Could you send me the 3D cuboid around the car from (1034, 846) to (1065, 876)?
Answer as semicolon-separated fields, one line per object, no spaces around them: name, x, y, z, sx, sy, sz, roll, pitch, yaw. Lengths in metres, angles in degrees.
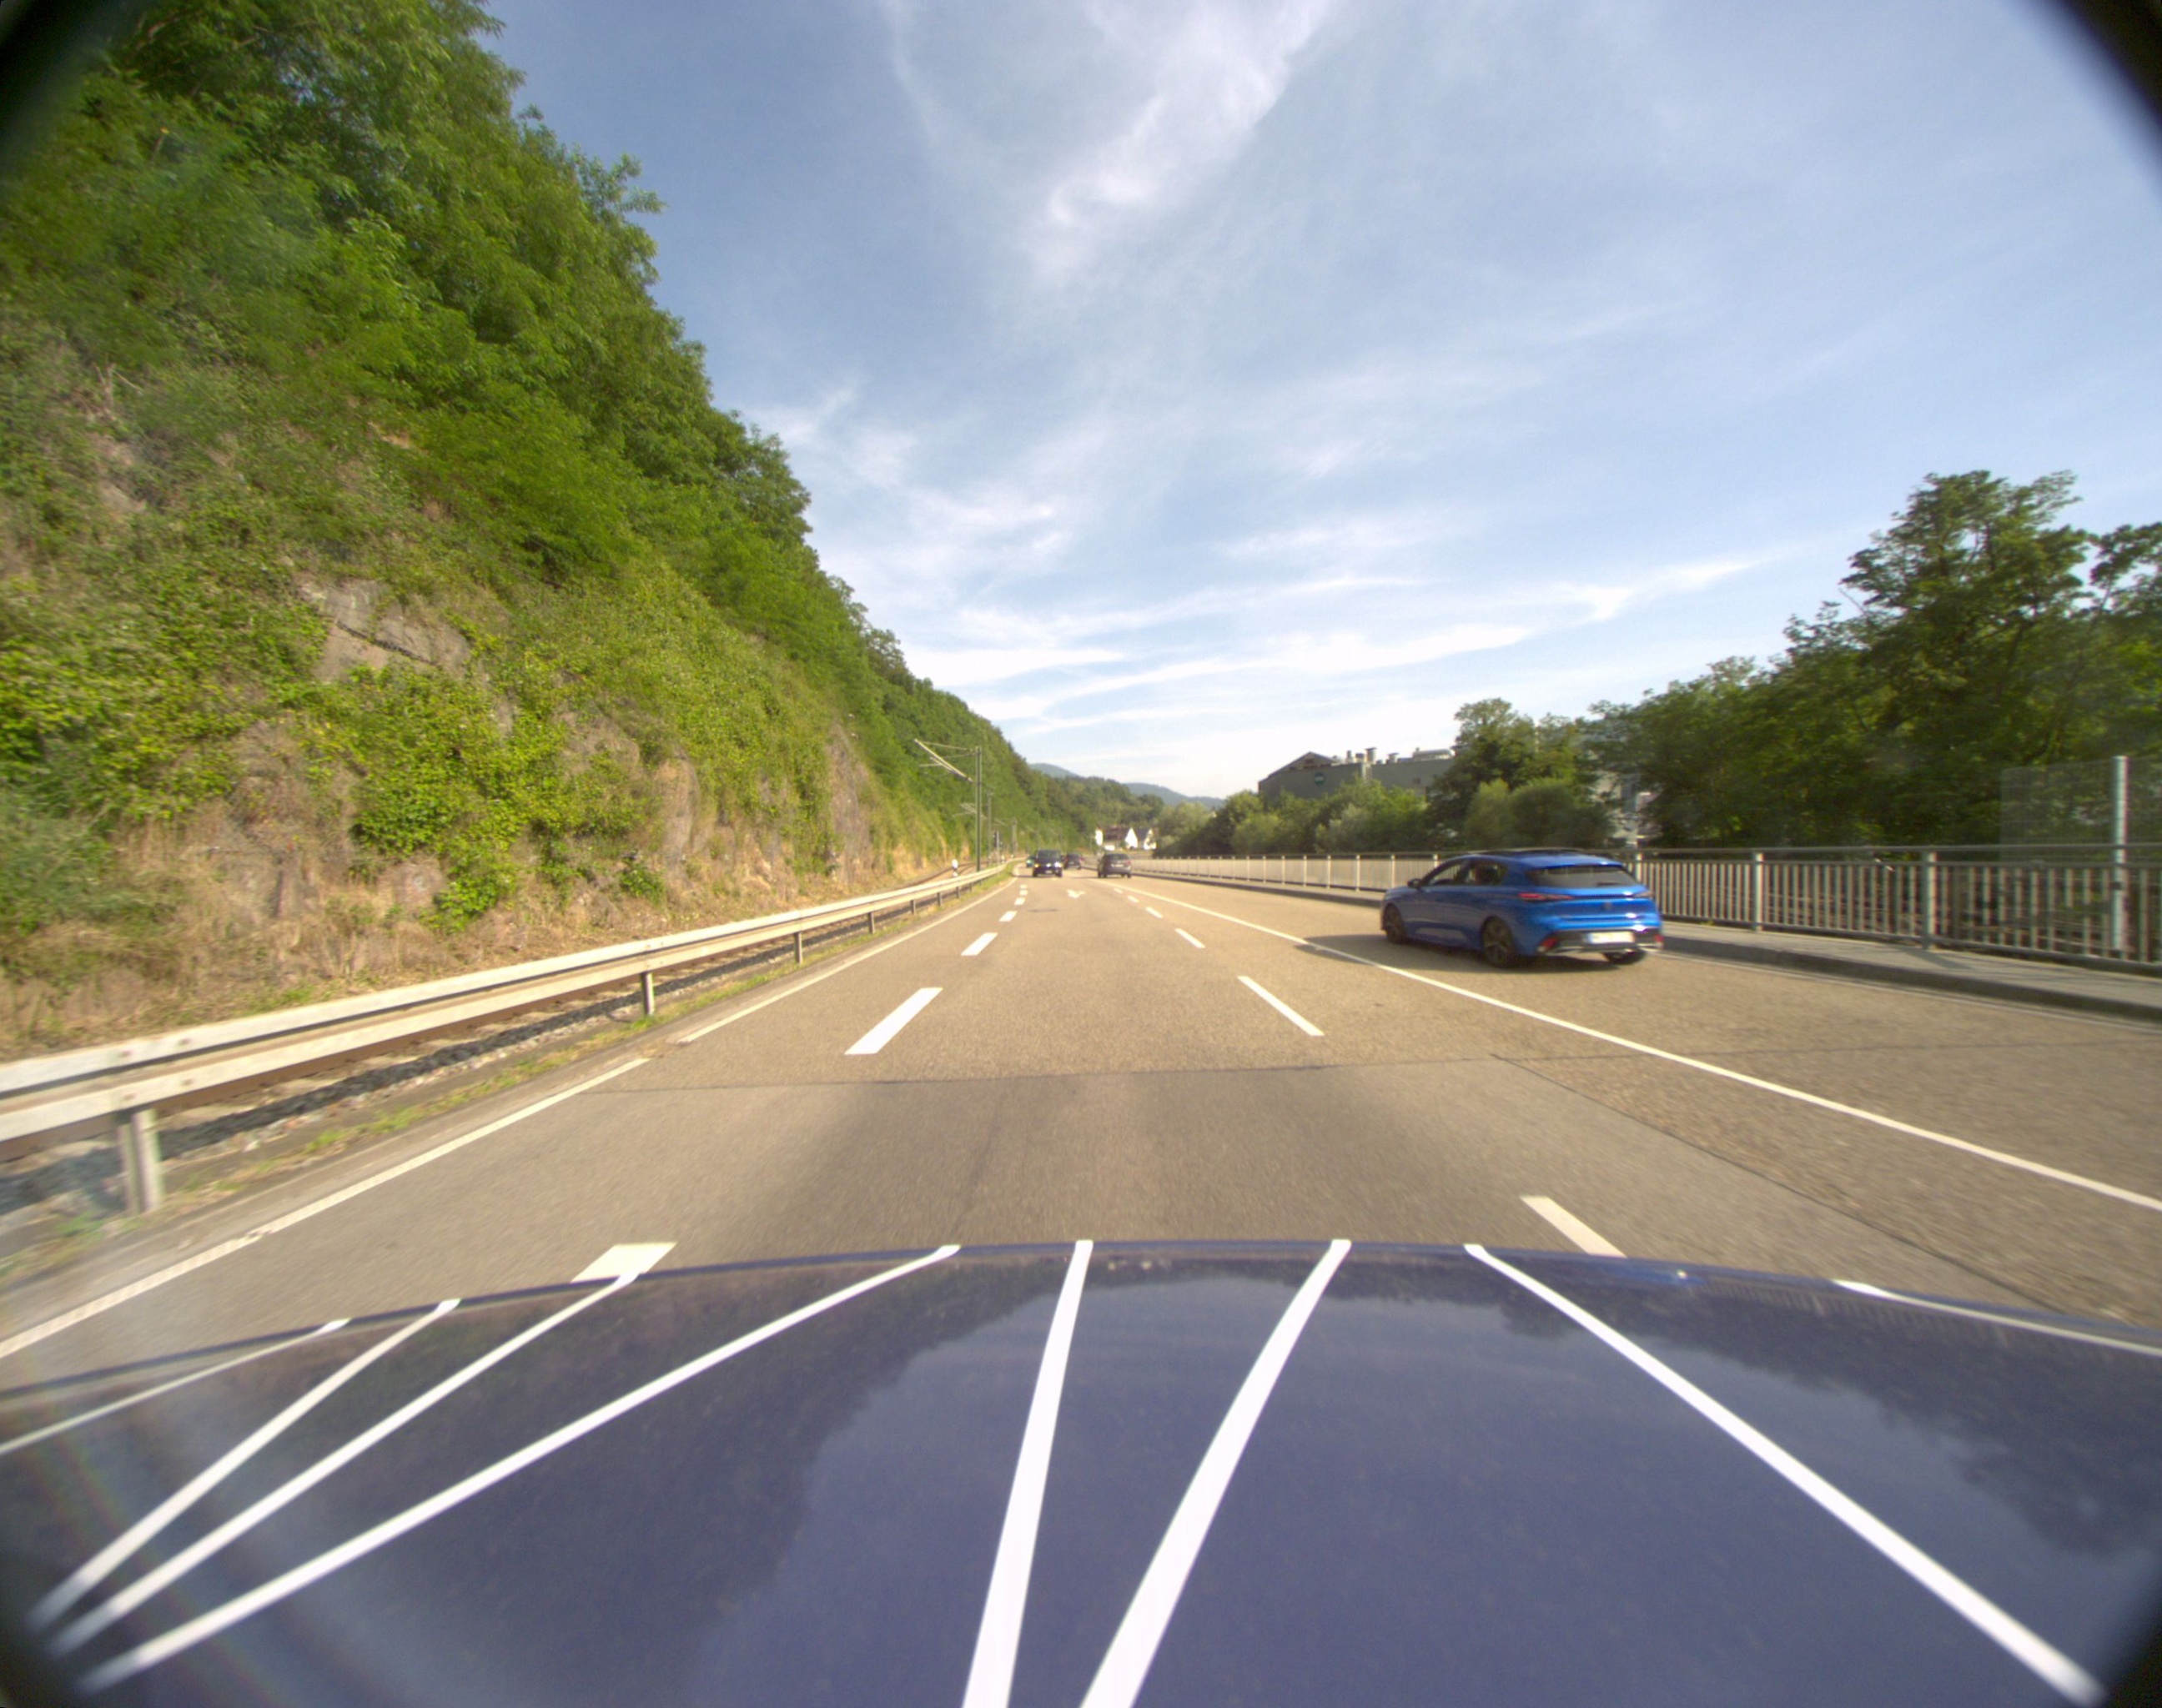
car;-2.195;0.482;52.292;1.909;1.868;4.347;-3;-1;-4

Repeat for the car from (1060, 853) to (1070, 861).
car;-2.880;0.523;133.801;1.725;1.427;4.338;-1;0;-2

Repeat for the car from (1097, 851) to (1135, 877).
car;2.262;0.619;50.163;1.822;1.637;4.609;-1;0;-6

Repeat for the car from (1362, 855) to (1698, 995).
car;5.771;0.774;10.587;1.787;1.473;4.524;-1;0;-4

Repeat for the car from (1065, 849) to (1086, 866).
car;-0.619;0.342;81.993;1.797;1.817;4.825;0;0;-7

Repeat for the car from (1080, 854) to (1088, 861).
car;0.761;0.772;179.263;1.707;1.423;4.074;1;1;2

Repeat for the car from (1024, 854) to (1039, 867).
car;-5.842;0.734;89.399;1.768;1.452;3.574;0;1;-5

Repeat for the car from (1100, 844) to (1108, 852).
car;5.849;-1.419;190.379;1.998;2.002;4.000;-2;0;2
